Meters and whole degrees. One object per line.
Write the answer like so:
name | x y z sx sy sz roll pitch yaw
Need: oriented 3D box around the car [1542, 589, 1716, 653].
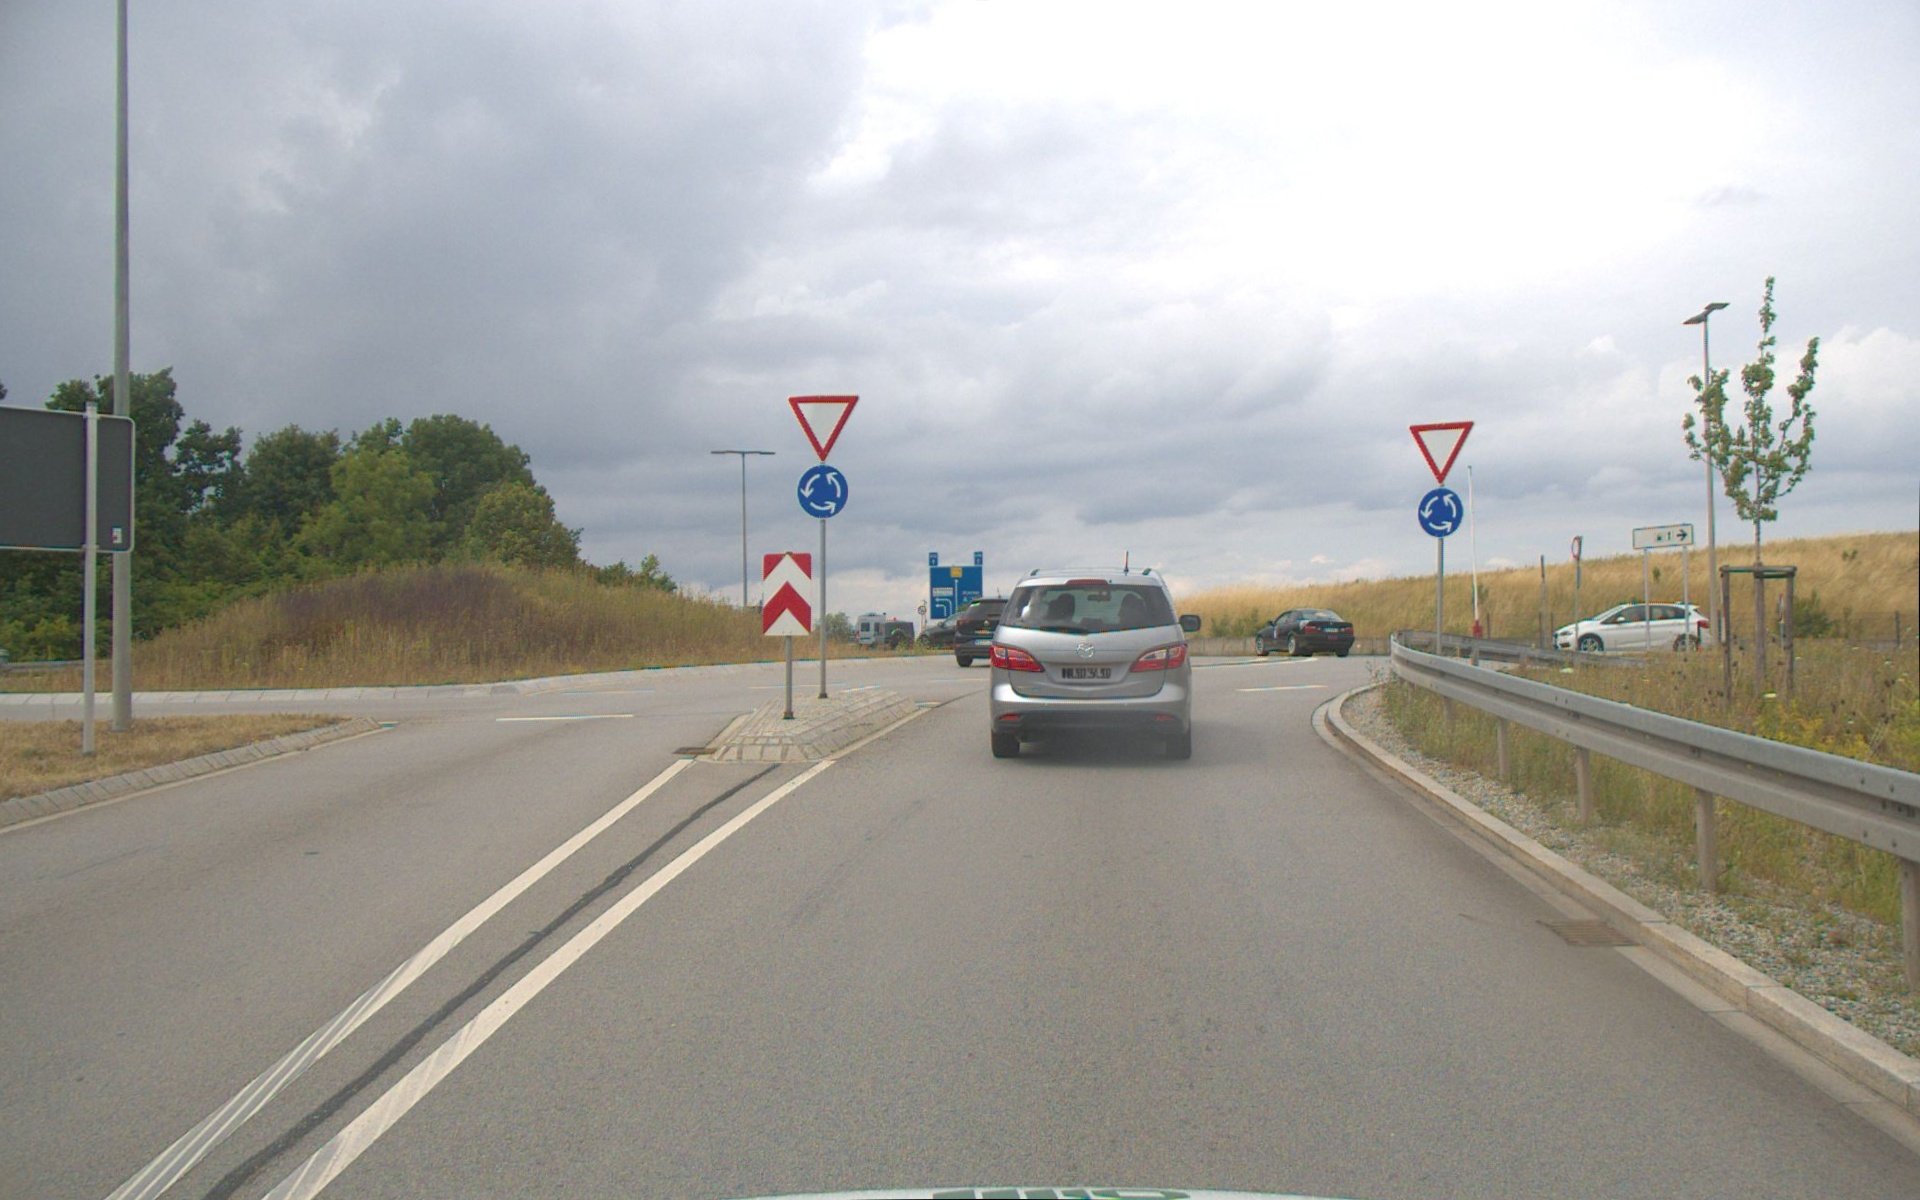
car | 19.111 0.592 47.404 4.319 1.657 1.786 -2 0 11

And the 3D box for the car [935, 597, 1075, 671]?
car | 1.020 0.678 34.817 1.627 1.402 4.000 -2 0 22

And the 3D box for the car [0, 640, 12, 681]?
car | -30.556 1.878 48.778 4.414 1.196 1.617 -2 0 -29

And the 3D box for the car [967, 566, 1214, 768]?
car | 1.333 0.511 15.202 1.870 1.601 4.004 0 1 10

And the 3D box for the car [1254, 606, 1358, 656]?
car | 9.851 0.868 47.355 1.569 1.310 4.037 -2 0 -9

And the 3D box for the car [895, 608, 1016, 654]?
car | -0.182 1.015 53.548 1.652 1.363 3.935 -1 -1 -44
